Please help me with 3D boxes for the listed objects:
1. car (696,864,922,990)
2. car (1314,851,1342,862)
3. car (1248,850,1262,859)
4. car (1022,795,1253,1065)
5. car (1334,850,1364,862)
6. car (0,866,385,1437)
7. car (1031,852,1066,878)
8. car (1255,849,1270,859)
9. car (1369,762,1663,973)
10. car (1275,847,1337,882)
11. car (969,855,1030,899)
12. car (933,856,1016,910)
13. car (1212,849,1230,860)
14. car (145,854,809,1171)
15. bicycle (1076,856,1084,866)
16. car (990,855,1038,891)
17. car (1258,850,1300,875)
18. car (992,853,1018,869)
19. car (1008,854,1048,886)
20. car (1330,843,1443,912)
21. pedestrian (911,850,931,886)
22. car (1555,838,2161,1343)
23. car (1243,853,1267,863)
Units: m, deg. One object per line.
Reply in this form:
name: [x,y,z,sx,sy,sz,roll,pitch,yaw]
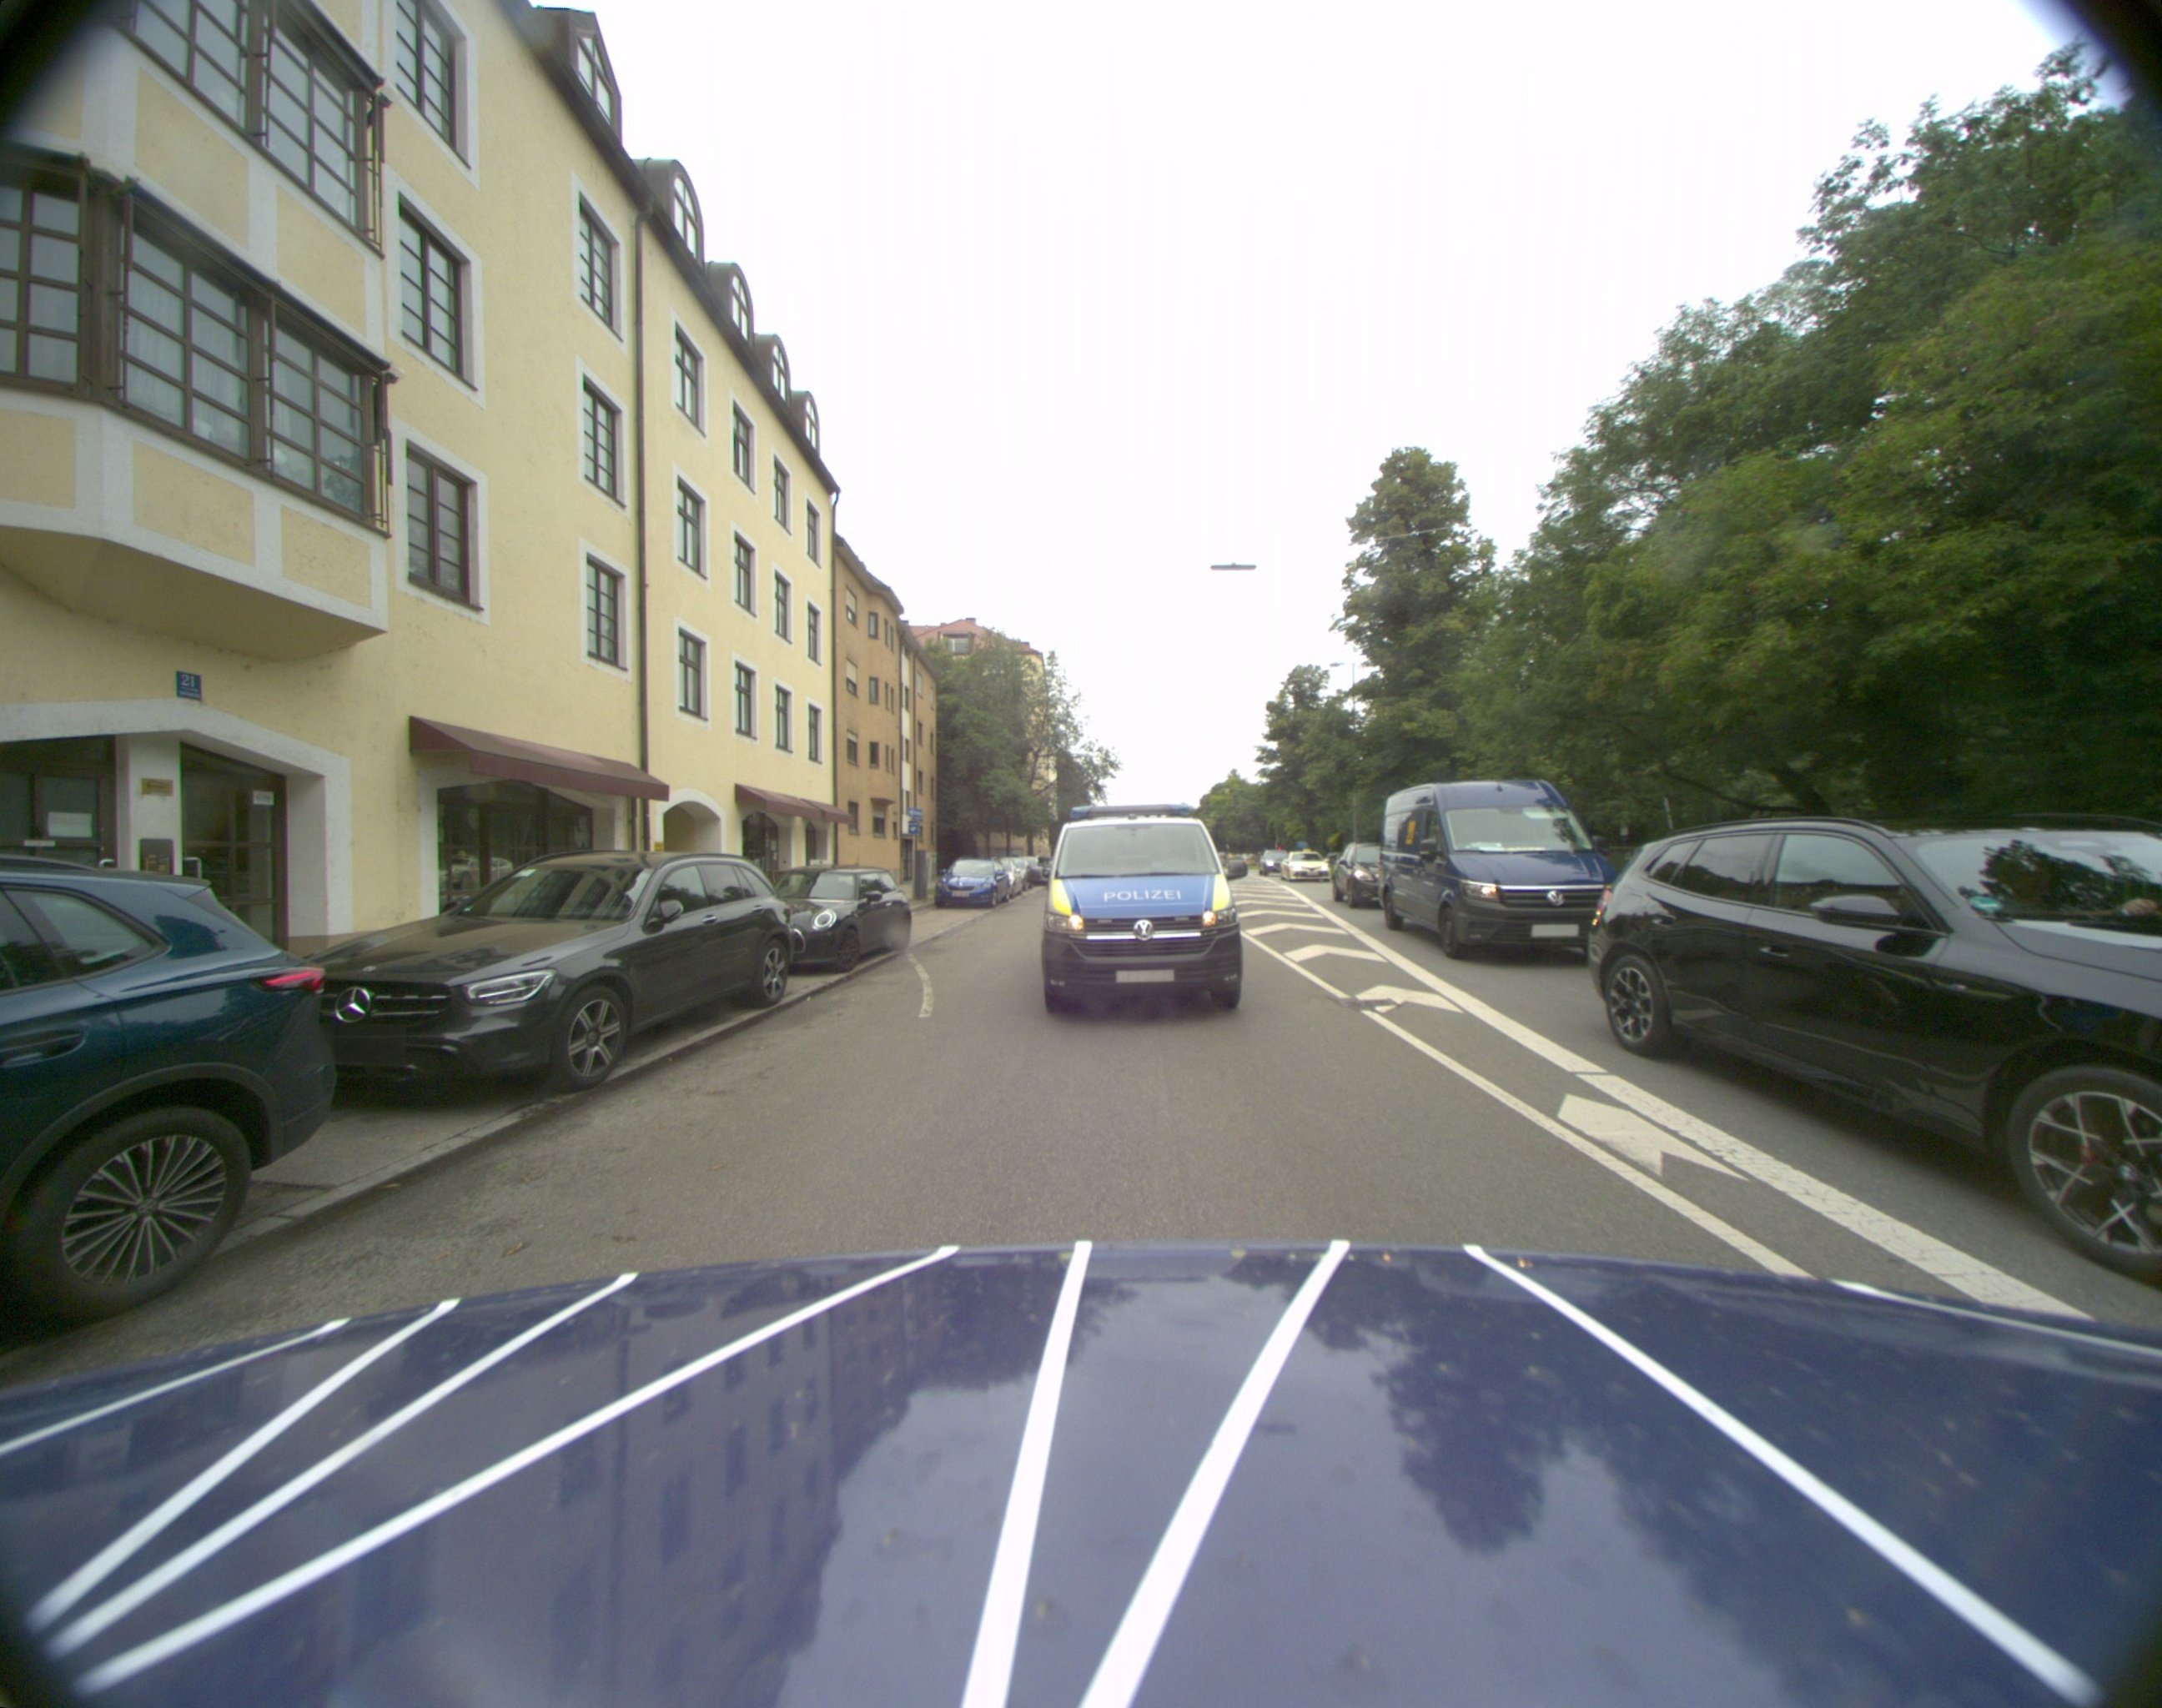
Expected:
car: [-3.849,0.943,11.511,1.760,1.487,3.824,1,0,5]
car: [33.468,0.321,103.087,1.999,1.526,4.705,0,0,-3]
car: [33.284,0.024,145.528,1.866,1.736,4.000,-1,0,1]
car: [0.553,0.584,8.485,1.856,2.198,4.553,-1,1,2]
car: [33.653,0.210,95.668,1.999,1.438,4.524,0,0,-3]
car: [-4.147,0.910,1.267,1.823,1.669,4.510,1,0,0]
car: [-2.000,0.670,47.842,1.796,1.488,4.376,2,0,2]
car: [33.140,-0.079,138.809,1.885,1.736,4.000,-1,0,1]
car: [6.221,0.108,11.914,2.187,2.450,5.855,0,1,10]
car: [10.649,0.460,36.298,1.991,1.556,4.656,0,0,6]
car: [-3.028,0.811,29.066,1.694,1.487,4.434,1,0,2]
car: [-3.235,0.823,23.897,1.760,1.487,4.488,1,0,3]
car: [23.522,0.092,128.077,1.999,1.742,4.524,-2,0,-3]
car: [-4.141,0.861,6.481,1.760,1.669,4.707,1,0,2]
bicycle: [-0.094,0.706,77.881,0.632,1.031,1.736,0,0,7]
car: [-2.947,0.813,34.209,1.631,1.487,3.787,1,0,3]
car: [12.548,0.502,48.350,1.991,1.556,4.275,0,0,7]
car: [-7.046,0.612,70.772,2.053,1.458,4.244,-1,0,-2]
car: [-2.675,0.777,39.021,1.631,1.487,3.821,1,0,3]
car: [7.924,0.536,20.109,1.990,1.618,4.276,0,0,11]
pedestrian: [-7.521,0.644,35.713,0.672,1.614,0.980,-1,2,3]
car: [4.585,0.722,3.817,1.917,1.577,4.832,-1,1,8]
car: [24.250,0.561,106.023,1.999,1.438,4.524,0,0,-3]
